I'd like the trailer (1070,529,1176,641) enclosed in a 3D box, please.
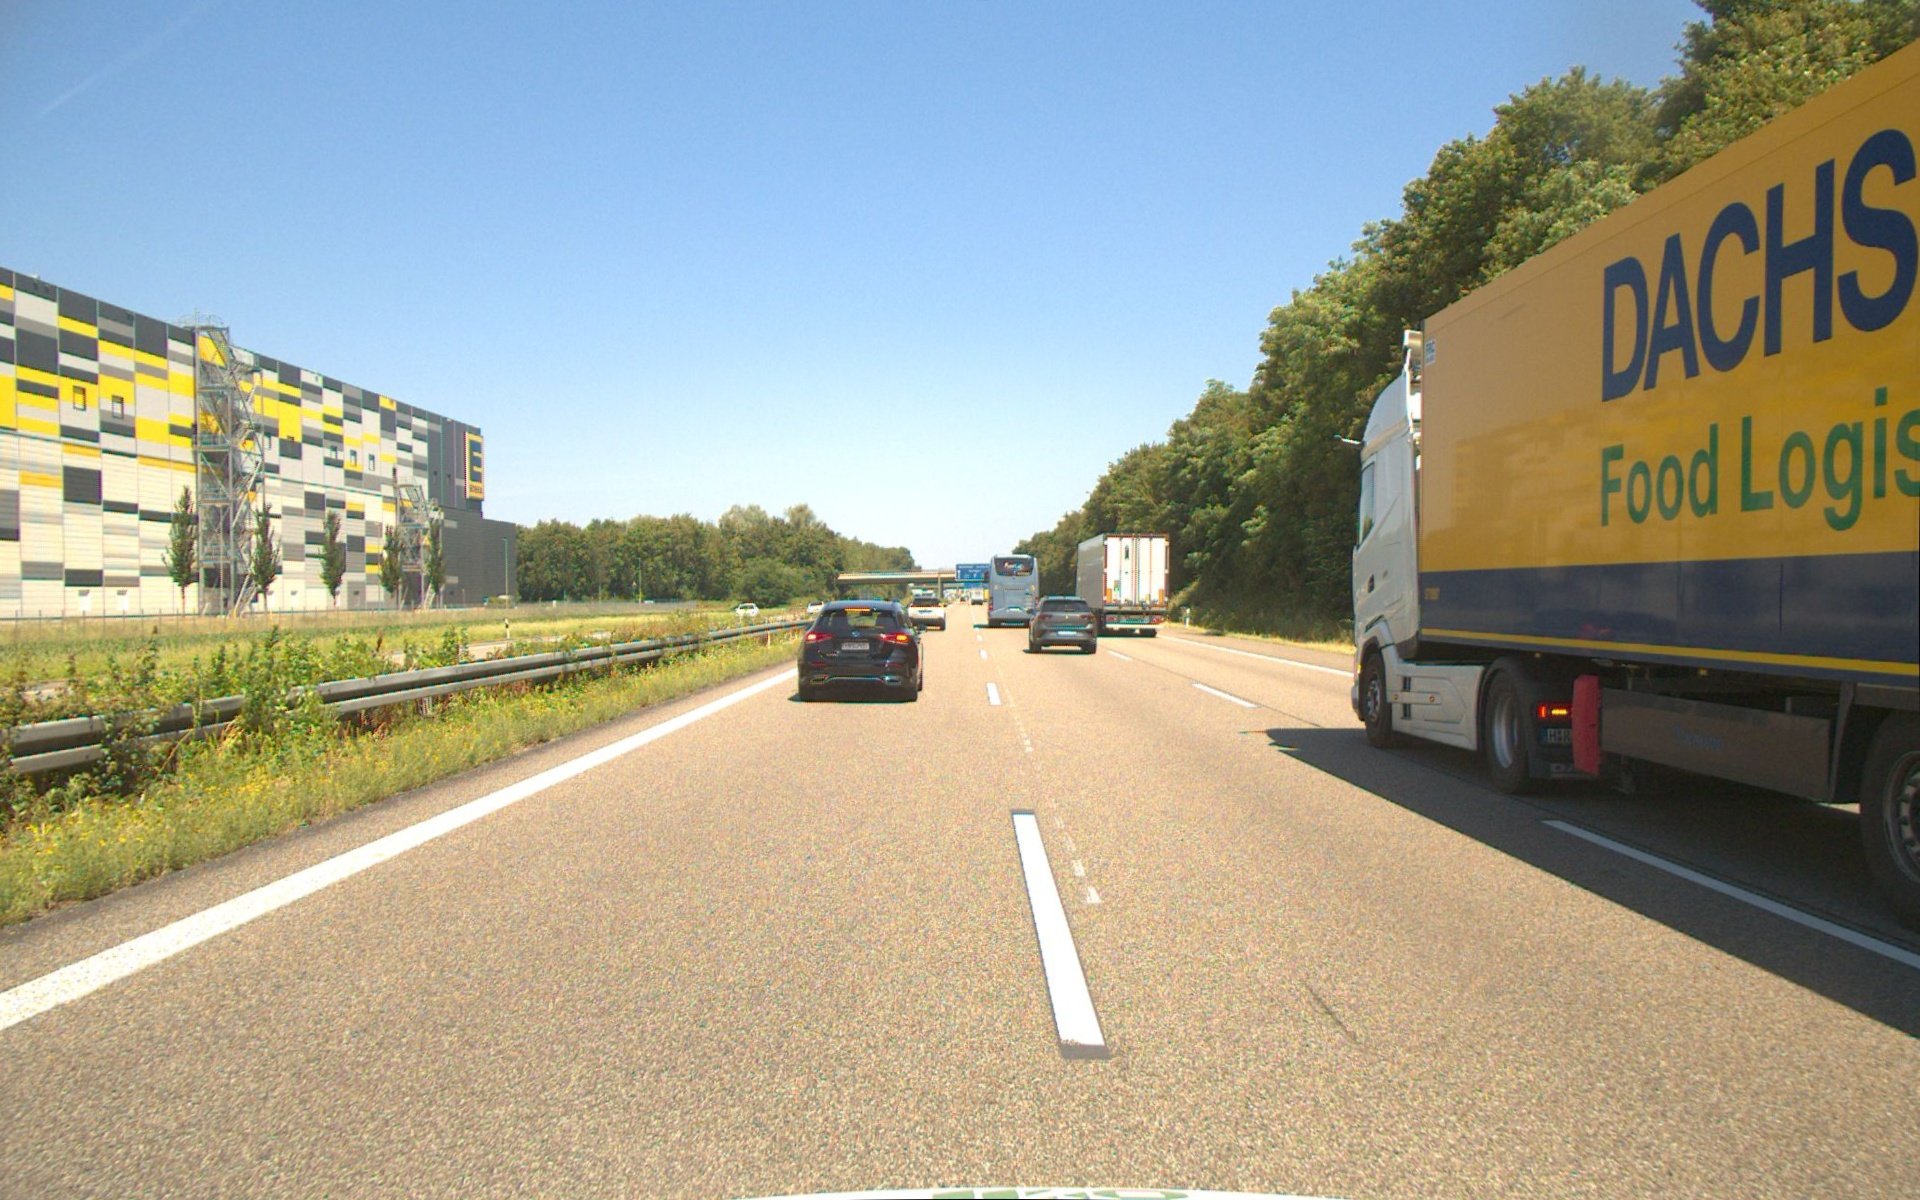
[{"bbox_3d":[6.765,-0.600,70.856,2.978,4.298,13.833,0,0,-1],"label":"trailer"}]

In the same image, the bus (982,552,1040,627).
[{"bbox_3d":[2.592,-0.500,87.552,2.745,3.659,12.474,0,0,0],"label":"bus"}]

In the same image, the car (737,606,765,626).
[{"bbox_3d":[-17.634,1.333,139.657,1.763,1.559,4.631,-1,0,-1],"label":"car"}]

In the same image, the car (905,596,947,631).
[{"bbox_3d":[-1.548,0.586,76.391,1.860,1.559,4.240,0,0,-1],"label":"car"}]

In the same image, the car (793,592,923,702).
[{"bbox_3d":[-1.473,0.651,25.259,1.763,1.528,4.240,0,0,-1],"label":"car"}]

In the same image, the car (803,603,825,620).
[{"bbox_3d":[-13.986,1.088,158.579,1.762,1.559,4.483,-1,0,0],"label":"car"}]

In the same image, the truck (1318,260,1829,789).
[{"bbox_3d":[5.493,-0.598,16.048,2.623,4.141,6.047,0,0,-1],"label":"truck"}]

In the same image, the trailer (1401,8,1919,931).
[{"bbox_3d":[5.594,-0.583,8.746,2.623,4.141,13.833,0,0,-1],"label":"trailer"}]

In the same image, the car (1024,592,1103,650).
[{"bbox_3d":[2.886,0.565,46.852,1.860,1.559,4.759,0,0,-1],"label":"car"}]

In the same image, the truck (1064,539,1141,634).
[{"bbox_3d":[6.664,-0.603,77.942,2.985,4.289,6.047,0,0,-1],"label":"truck"}]
